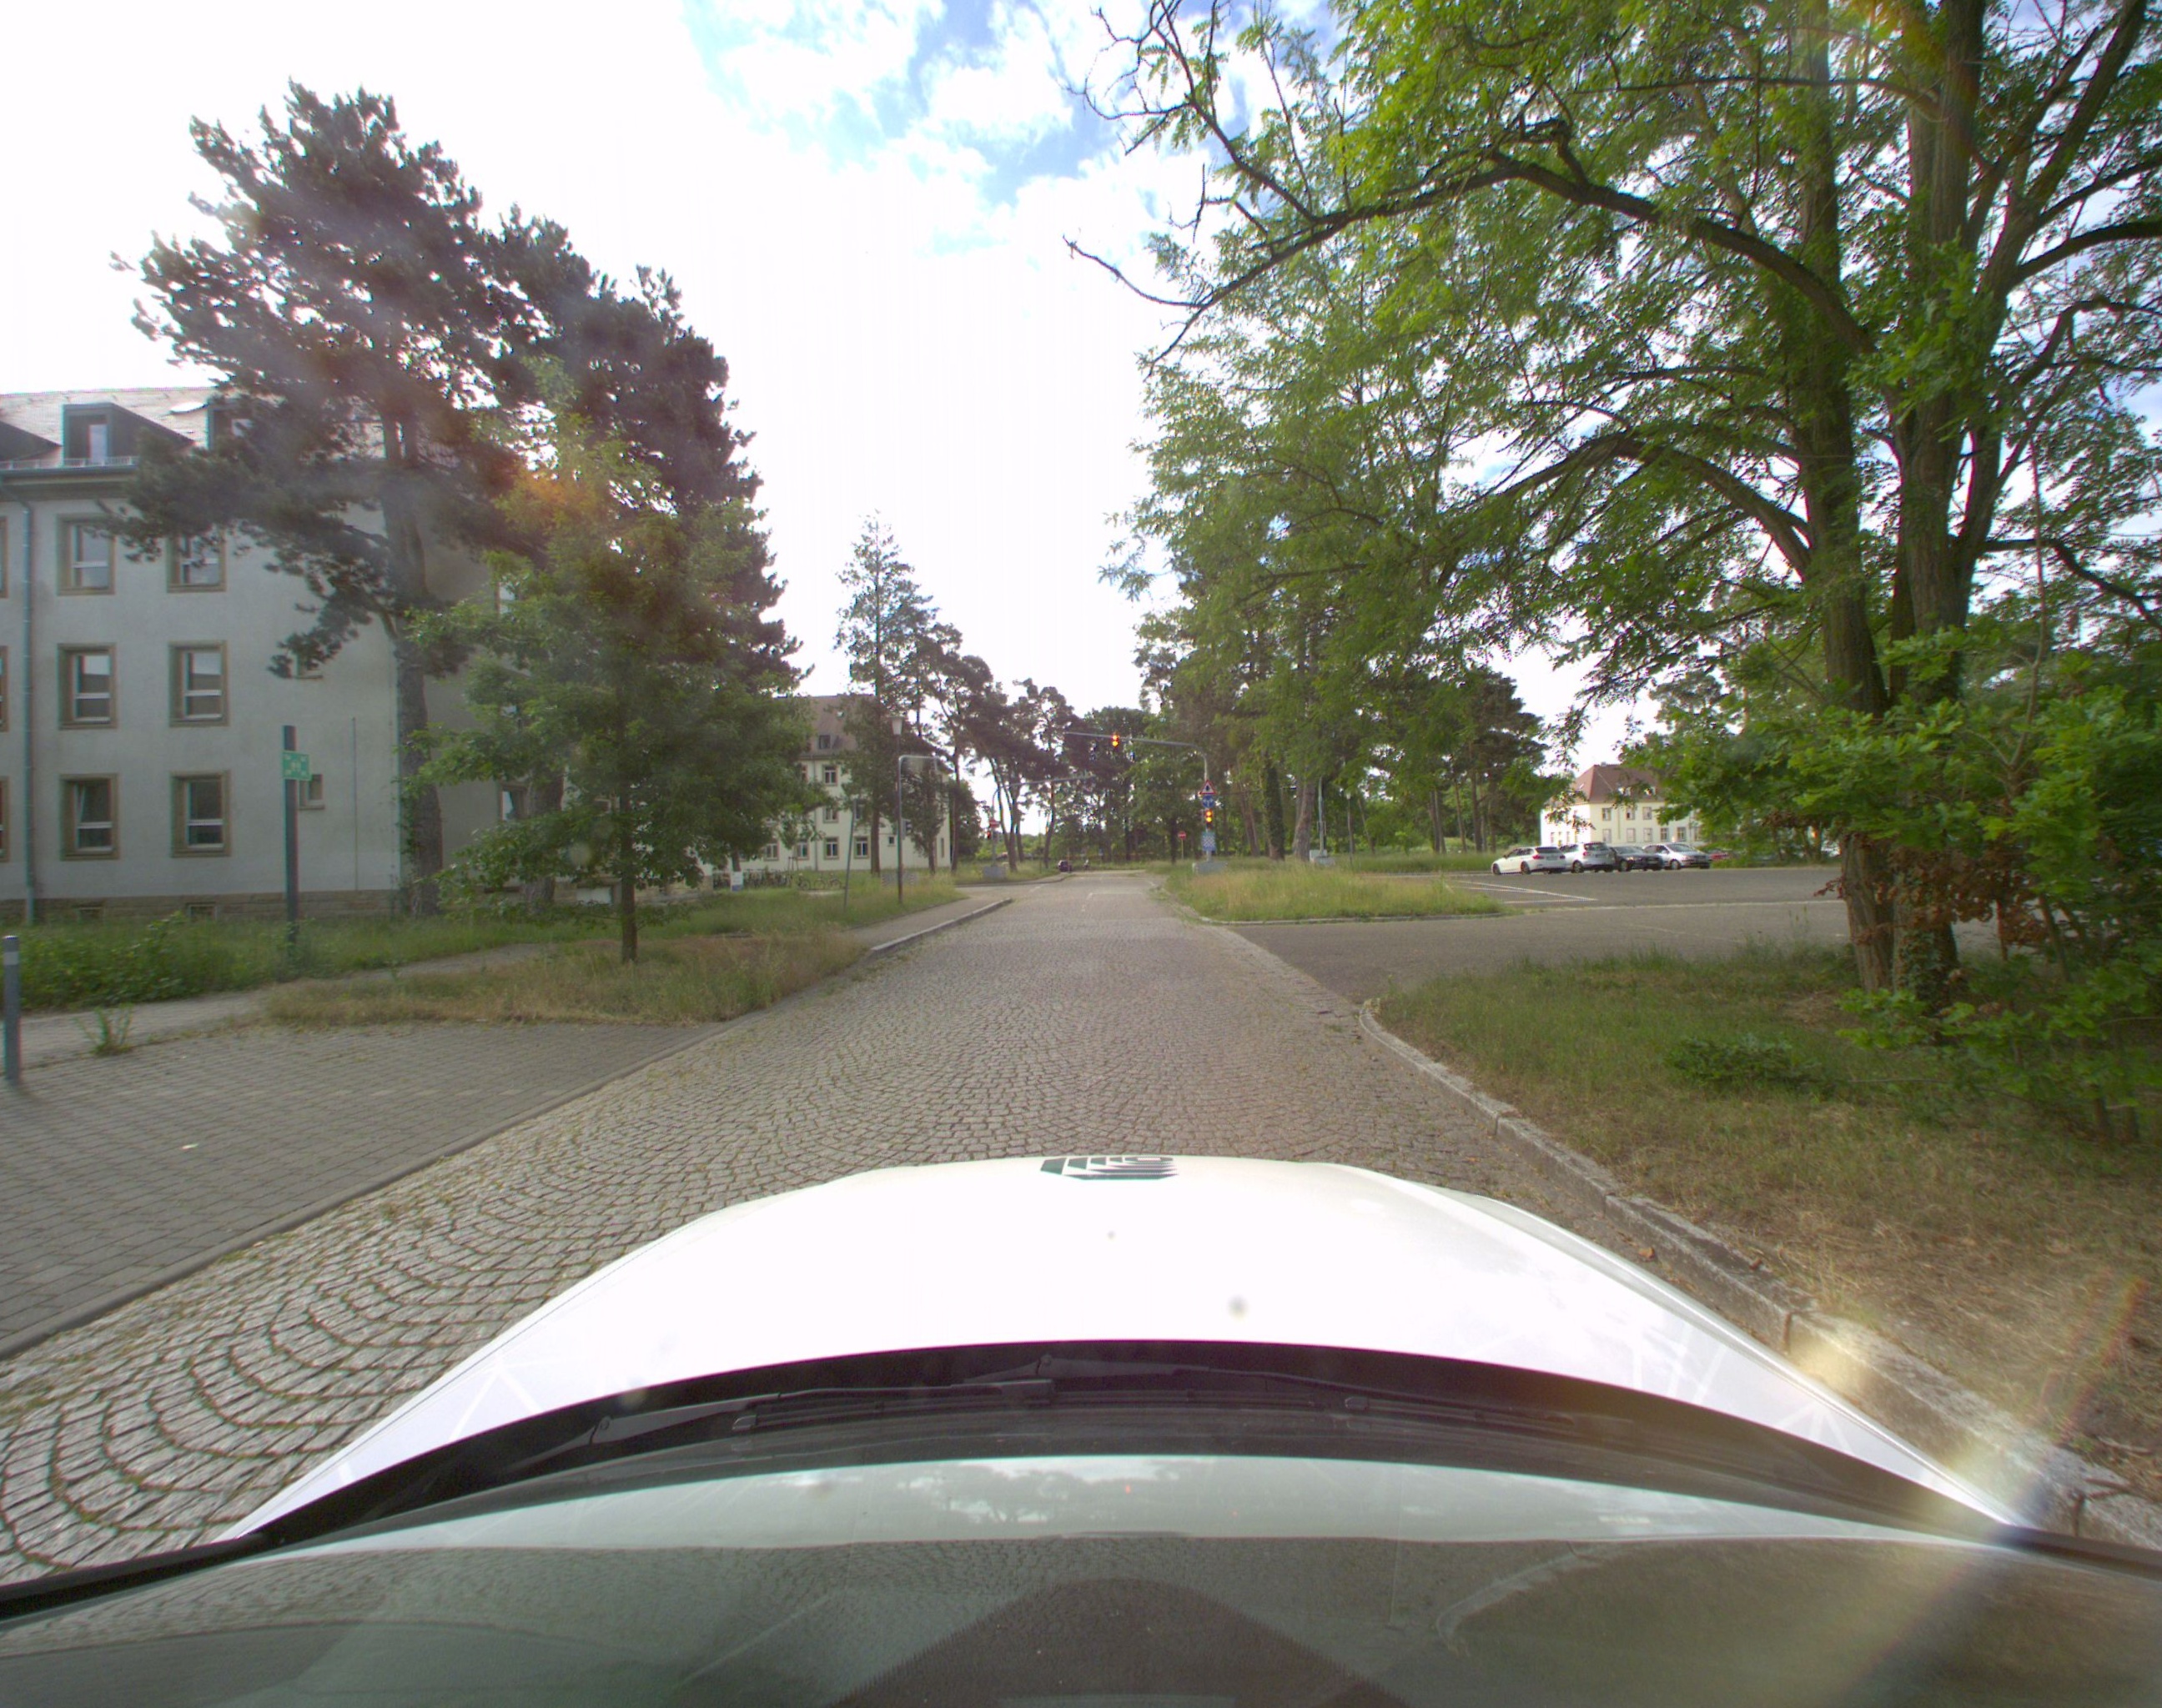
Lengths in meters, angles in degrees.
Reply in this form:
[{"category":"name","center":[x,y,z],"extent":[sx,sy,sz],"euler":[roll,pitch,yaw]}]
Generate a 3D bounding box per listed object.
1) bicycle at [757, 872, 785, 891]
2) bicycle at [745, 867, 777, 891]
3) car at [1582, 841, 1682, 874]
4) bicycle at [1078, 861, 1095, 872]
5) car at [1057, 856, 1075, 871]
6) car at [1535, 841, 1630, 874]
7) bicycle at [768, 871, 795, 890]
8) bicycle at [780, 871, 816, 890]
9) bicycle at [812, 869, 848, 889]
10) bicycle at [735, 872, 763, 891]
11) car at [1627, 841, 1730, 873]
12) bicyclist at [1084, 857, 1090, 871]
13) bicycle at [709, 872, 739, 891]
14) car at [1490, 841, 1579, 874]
[{"category":"bicycle","center":[-18.919,1.650,49.707],"extent":[0.733,1.076,2.274],"euler":[-2,0,2]},{"category":"bicycle","center":[-19.652,1.524,50.081],"extent":[0.733,1.386,2.712],"euler":[-2,0,2]},{"category":"car","center":[28.111,0.223,41.737],"extent":[1.988,1.481,4.422],"euler":[-2,-2,-2]},{"category":"bicycle","center":[0.702,1.501,98.690],"extent":[1.968,1.320,0.516],"euler":[0,-1,-9]},{"category":"car","center":[-1.944,1.263,105.547],"extent":[2.048,1.846,4.001],"euler":[-2,0,1]},{"category":"car","center":[25.442,0.225,41.508],"extent":[1.988,1.481,4.422],"euler":[-2,-2,-2]},{"category":"bicycle","center":[-18.276,1.628,49.772],"extent":[0.733,1.076,2.274],"euler":[-2,0,2]},{"category":"bicycle","center":[-16.836,1.571,48.486],"extent":[1.848,1.076,0.739],"euler":[-2,-1,3]},{"category":"bicycle","center":[-14.954,1.486,48.481],"extent":[1.848,1.076,0.832],"euler":[-2,-1,3]},{"category":"bicycle","center":[-20.444,1.677,50.208],"extent":[0.733,1.076,2.274],"euler":[-2,0,2]},{"category":"car","center":[30.788,0.202,42.151],"extent":[1.988,1.523,4.422],"euler":[0,-2,-2]},{"category":"bicyclist","center":[0.713,1.198,98.691],"extent":[0.748,1.671,0.524],"euler":[0,-1,-8]},{"category":"bicycle","center":[-21.834,1.681,49.819],"extent":[0.733,1.076,2.274],"euler":[-2,0,2]},{"category":"car","center":[22.926,0.229,41.387],"extent":[1.988,1.481,4.422],"euler":[-2,-2,-2]}]
